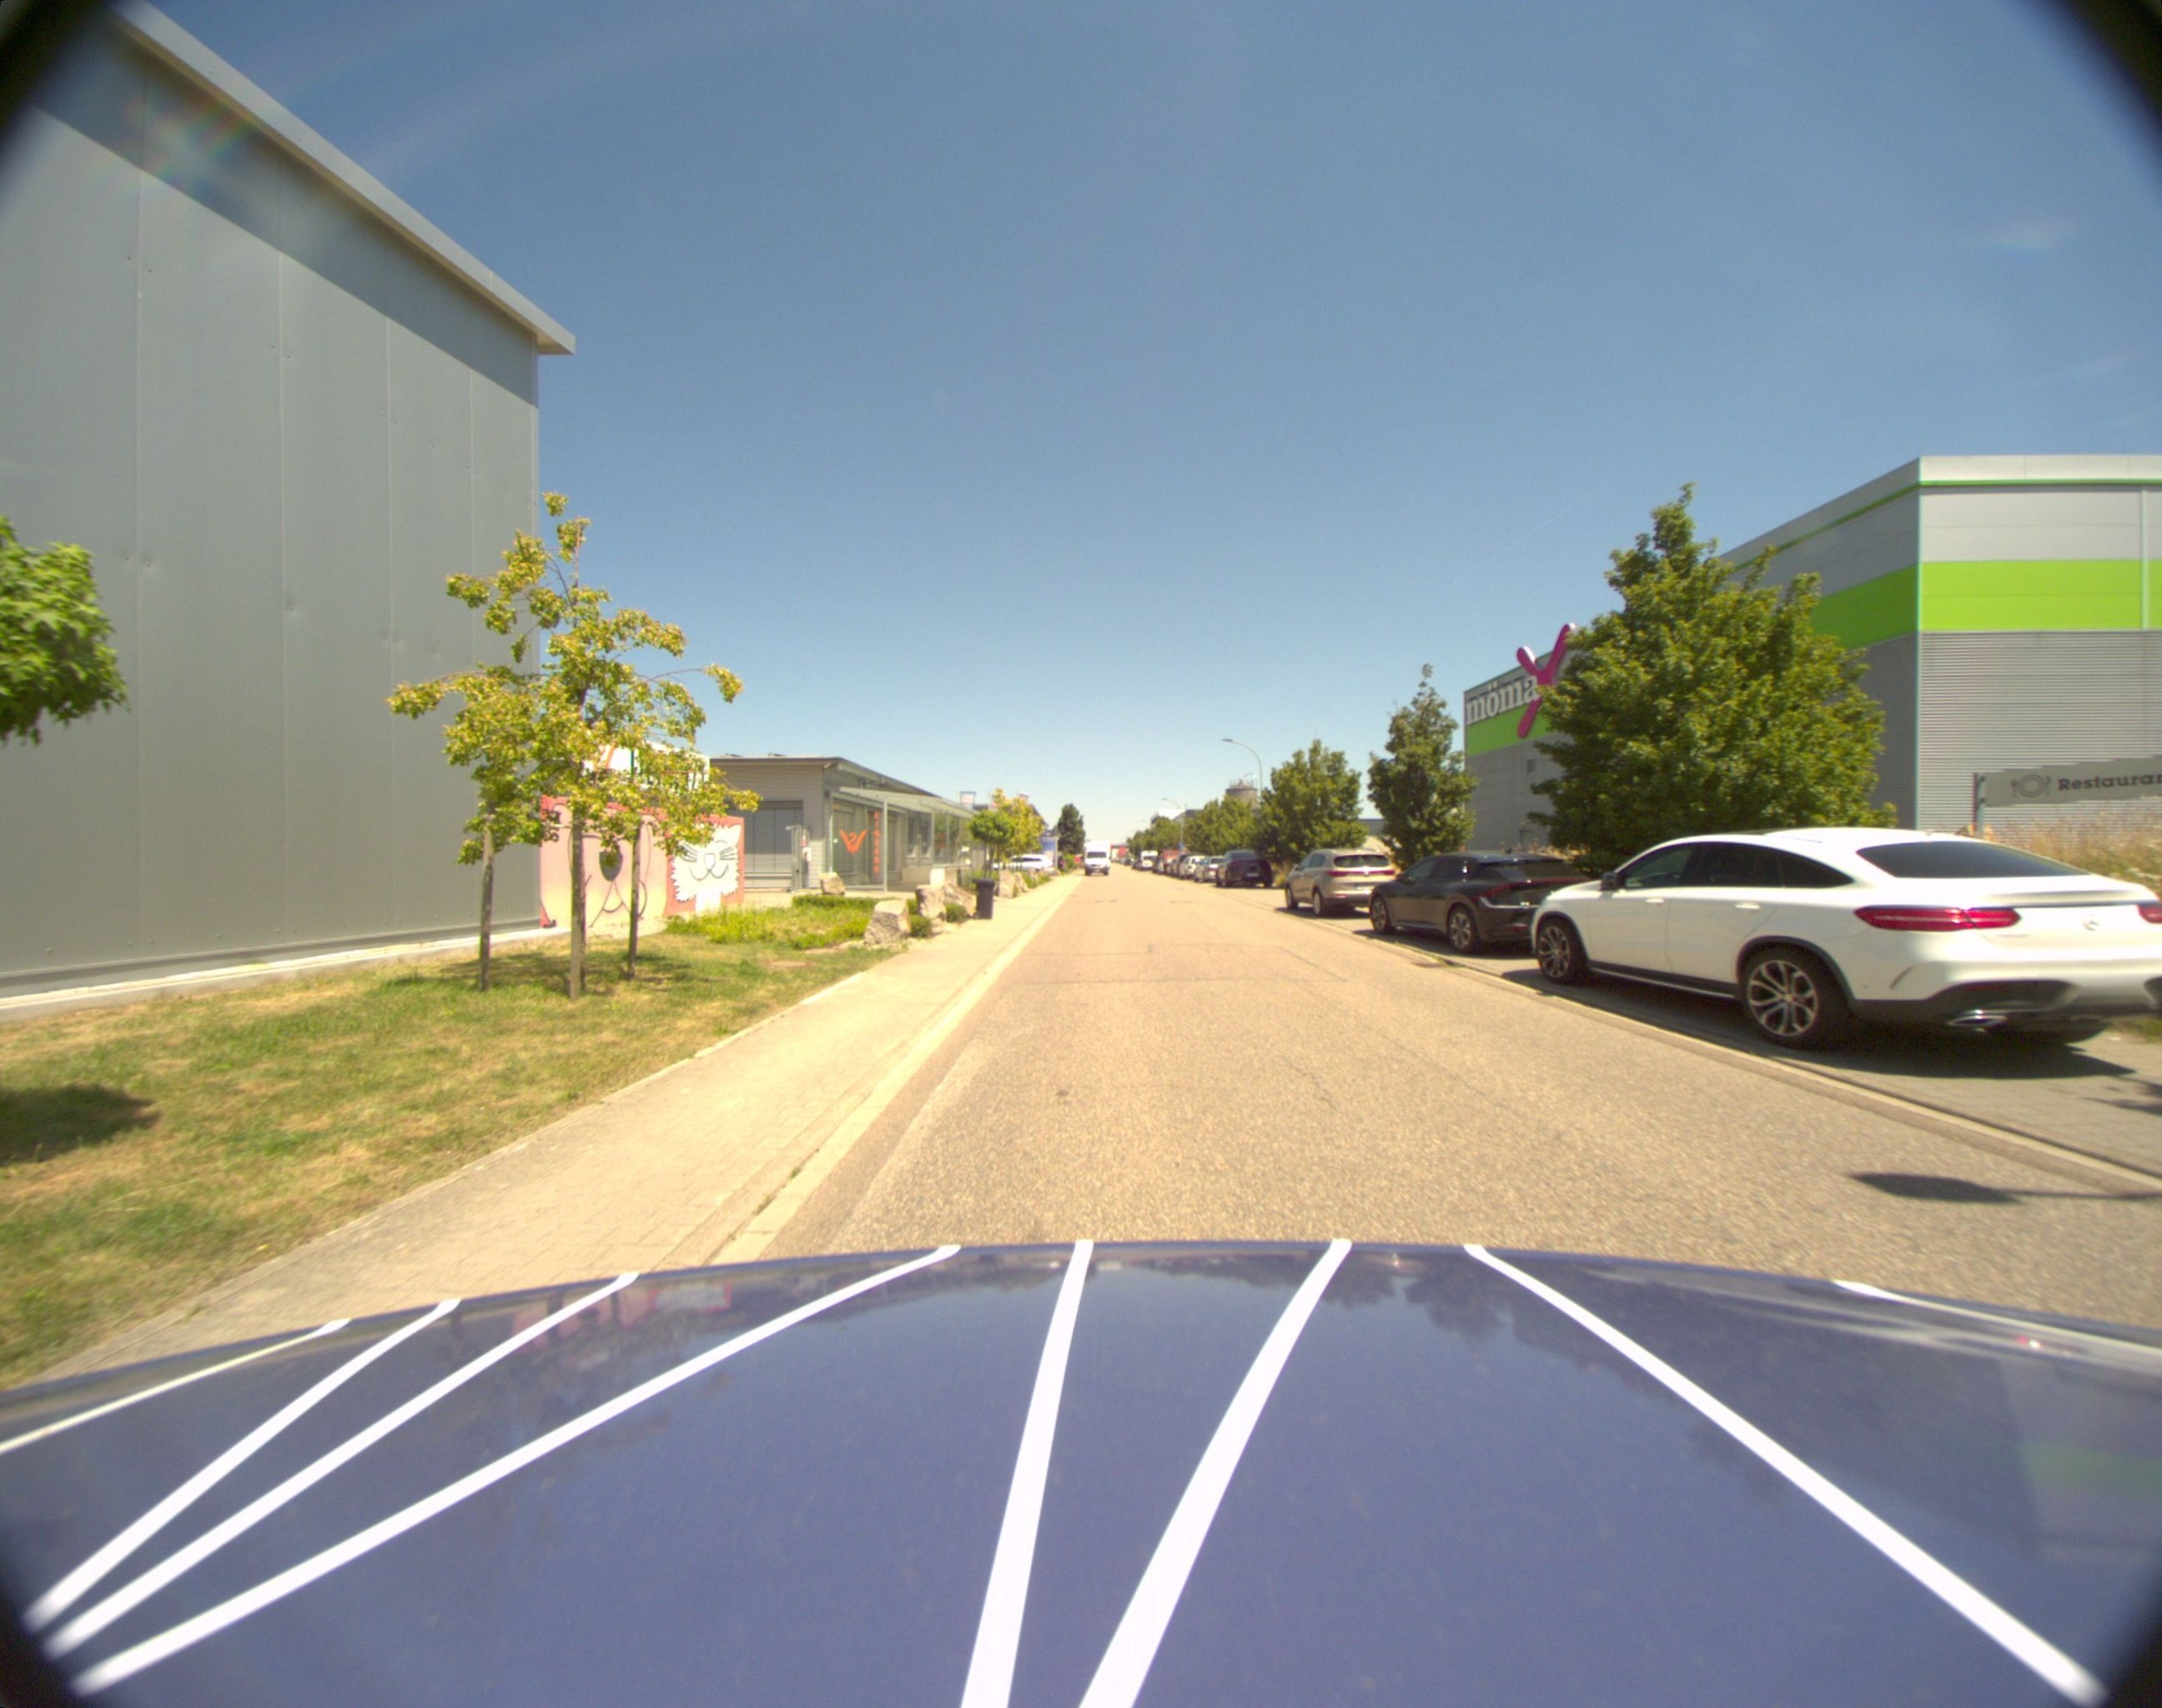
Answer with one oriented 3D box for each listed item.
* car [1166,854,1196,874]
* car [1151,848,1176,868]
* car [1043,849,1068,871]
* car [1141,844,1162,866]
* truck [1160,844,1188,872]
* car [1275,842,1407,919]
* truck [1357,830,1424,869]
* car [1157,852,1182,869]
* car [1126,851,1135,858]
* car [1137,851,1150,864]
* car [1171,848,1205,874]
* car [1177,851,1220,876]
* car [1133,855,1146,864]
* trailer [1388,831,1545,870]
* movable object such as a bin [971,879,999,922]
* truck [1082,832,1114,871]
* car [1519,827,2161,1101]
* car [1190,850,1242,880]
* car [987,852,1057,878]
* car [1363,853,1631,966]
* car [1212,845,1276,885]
[{"bbox_3d":[7.866,0.787,60.161,1.856,1.435,4.754,-2,0,2],"label":"car"},{"bbox_3d":[8.280,0.385,76.650,1.978,1.889,5.402,0,0,2],"label":"car"},{"bbox_3d":[-2.359,0.571,71.560,1.998,2.002,5.338,0,0,3],"label":"car"},{"bbox_3d":[8.947,0.149,97.485,2.328,2.583,6.086,-2,0,3],"label":"car"},{"bbox_3d":[7.935,0.323,65.098,1.856,2.209,4.646,-2,0,1],"label":"truck"},{"bbox_3d":[6.447,0.607,19.419,1.917,1.703,4.413,-2,0,1],"label":"car"},{"bbox_3d":[33.902,-0.477,83.470,6.120,4.064,3.220,1,0,3],"label":"truck"},{"bbox_3d":[8.116,0.593,70.054,1.856,1.542,3.766,0,0,0],"label":"car"},{"bbox_3d":[10.860,0.049,168.403,1.798,1.638,3.831,0,0,1],"label":"car"},{"bbox_3d":[9.397,0.500,114.198,1.835,1.800,4.083,-2,0,3],"label":"car"},{"bbox_3d":[7.628,0.468,54.566,1.856,1.748,4.987,-2,0,2],"label":"car"},{"bbox_3d":[7.437,0.583,48.598,1.856,1.510,4.904,-2,0,-1],"label":"car"},{"bbox_3d":[9.693,0.905,126.835,1.798,1.477,4.452,-2,0,1],"label":"car"},{"bbox_3d":[41.976,-0.406,83.113,15.356,4.064,3.220,1,0,3],"label":"trailer"},{"bbox_3d":[-2.199,1.054,17.459,0.560,0.941,0.539,1,1,0],"label":"movable object such as a bin"},{"bbox_3d":[1.530,-0.212,65.248,2.463,3.187,6.883,0,0,3],"label":"truck"},{"bbox_3d":[6.313,0.681,6.967,1.917,1.645,4.755,0,0,1],"label":"car"},{"bbox_3d":[7.511,0.577,42.697,1.856,1.510,5.166,-2,0,-1],"label":"car"},{"bbox_3d":[-3.690,0.676,48.275,4.291,1.532,1.913,1,0,-1],"label":"car"},{"bbox_3d":[6.501,0.761,12.587,1.917,1.483,4.412,-2,0,-1],"label":"car"},{"bbox_3d":[7.492,0.488,35.482,1.996,1.703,5.007,-2,0,2],"label":"car"}]
